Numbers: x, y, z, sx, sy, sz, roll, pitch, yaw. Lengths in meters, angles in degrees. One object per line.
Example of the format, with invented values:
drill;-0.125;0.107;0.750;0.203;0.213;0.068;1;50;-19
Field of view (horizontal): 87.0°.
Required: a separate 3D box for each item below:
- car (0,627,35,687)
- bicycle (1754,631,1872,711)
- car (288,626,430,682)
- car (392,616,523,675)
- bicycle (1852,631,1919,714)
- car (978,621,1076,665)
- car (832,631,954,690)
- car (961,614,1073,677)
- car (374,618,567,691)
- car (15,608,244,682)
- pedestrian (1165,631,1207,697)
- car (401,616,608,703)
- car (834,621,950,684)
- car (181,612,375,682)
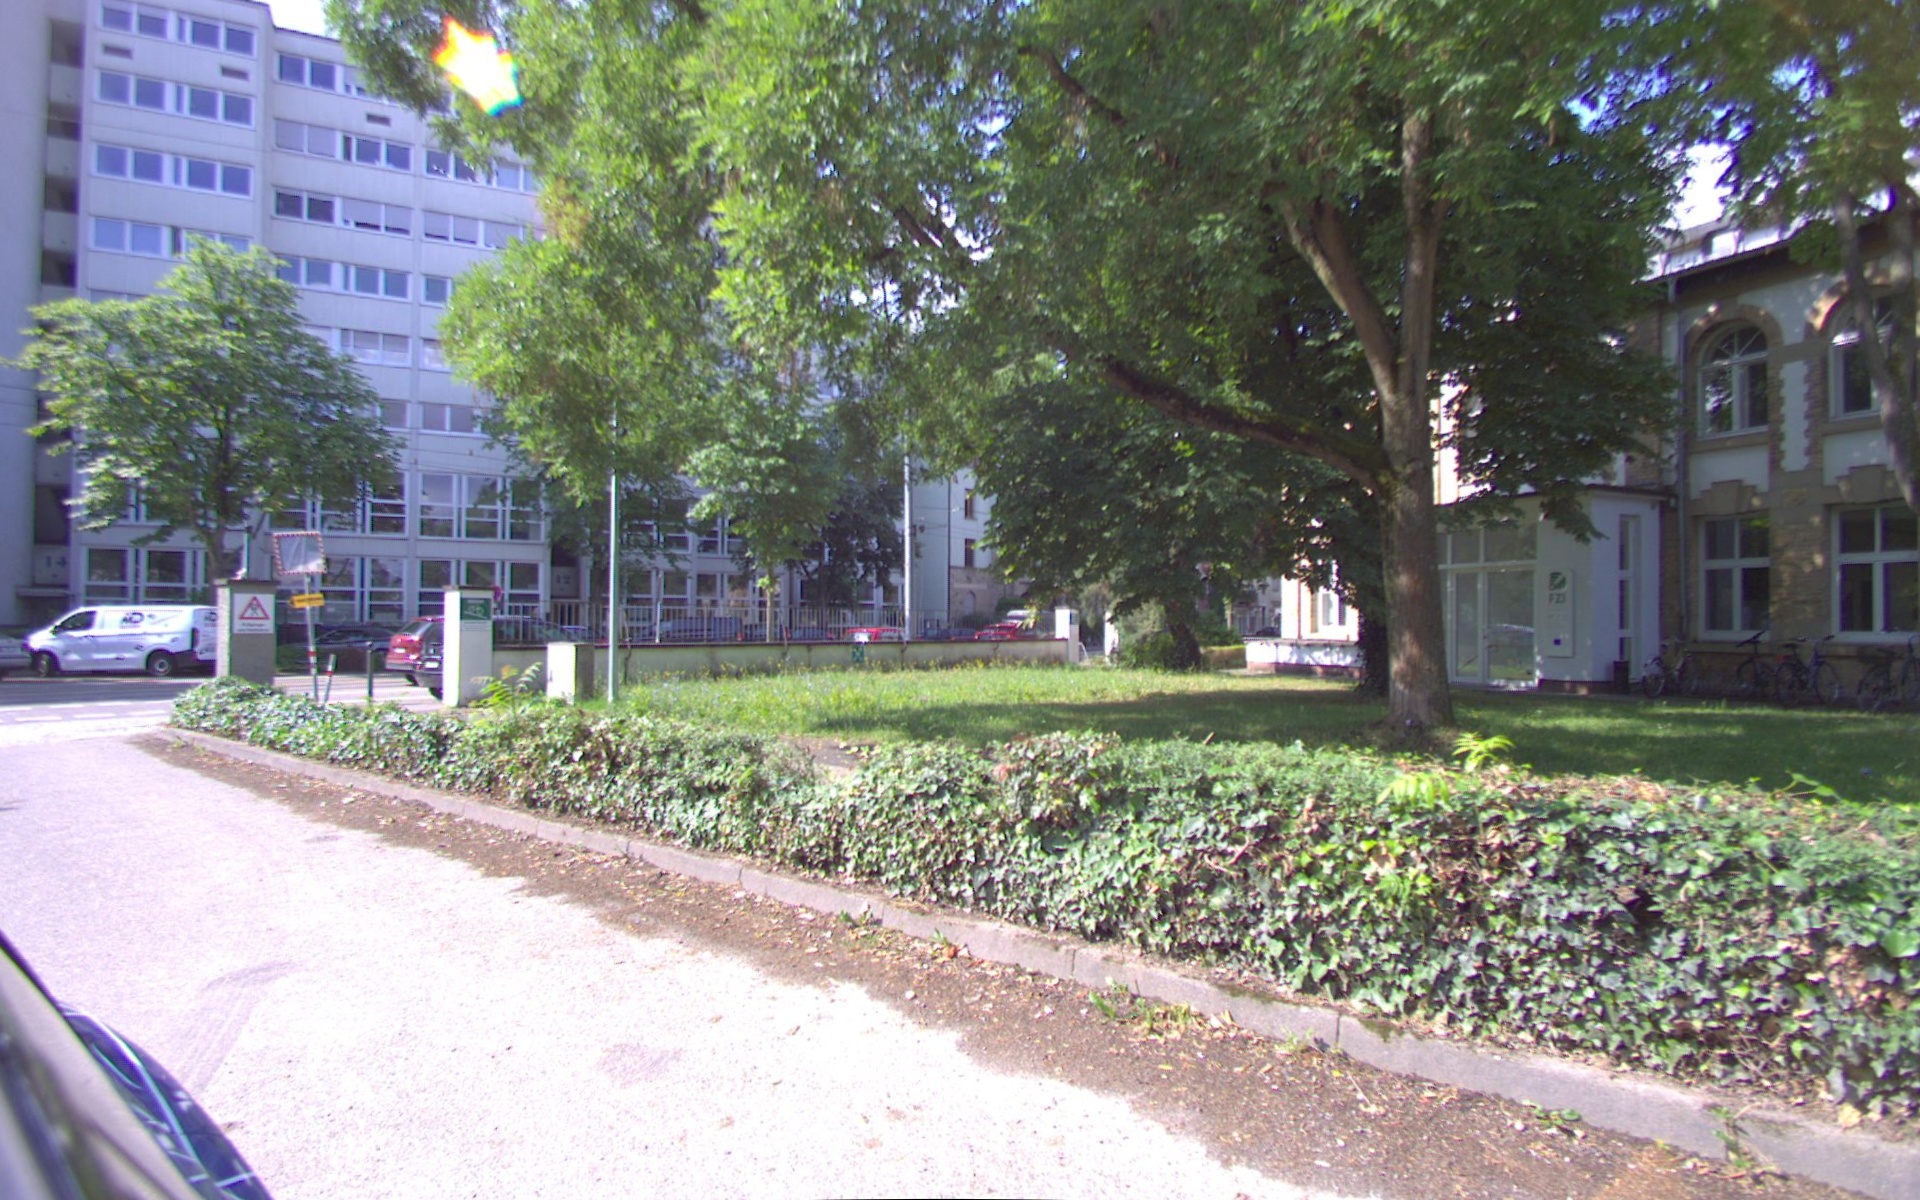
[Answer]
car;-25.836;1.478;25.314;3.726;1.487;1.727;-1;-2;-5
bicycle;13.290;1.086;15.761;2.031;1.064;0.421;-3;0;-21
car;-19.700;1.737;33.299;3.578;1.512;1.766;-2;2;-10
car;-17.694;1.572;35.798;3.700;1.724;1.887;-2;3;-7
bicycle;13.595;1.029;14.658;1.827;1.044;0.321;-3;3;-26
car;3.106;2.004;46.328;1.945;1.788;4.771;-7;-7;40
car;-1.948;1.760;30.181;1.677;1.624;3.539;-3;-3;37
car;2.051;1.530;35.547;1.964;1.718;3.949;1;4;39
car;-11.893;1.275;24.789;1.676;1.624;3.921;-1;-2;36
car;-22.709;1.247;27.830;4.573;1.927;1.933;0;-4;-3
pedestrian;6.285;1.765;28.143;0.795;1.690;0.775;-3;3;-25
car;-9.291;1.175;20.826;1.677;1.624;3.539;-3;-3;37
car;-1.988;1.531;30.158;1.670;1.497;3.238;-2;2;38
car;-20.423;1.392;30.473;4.505;2.013;1.905;0;-2;-3
